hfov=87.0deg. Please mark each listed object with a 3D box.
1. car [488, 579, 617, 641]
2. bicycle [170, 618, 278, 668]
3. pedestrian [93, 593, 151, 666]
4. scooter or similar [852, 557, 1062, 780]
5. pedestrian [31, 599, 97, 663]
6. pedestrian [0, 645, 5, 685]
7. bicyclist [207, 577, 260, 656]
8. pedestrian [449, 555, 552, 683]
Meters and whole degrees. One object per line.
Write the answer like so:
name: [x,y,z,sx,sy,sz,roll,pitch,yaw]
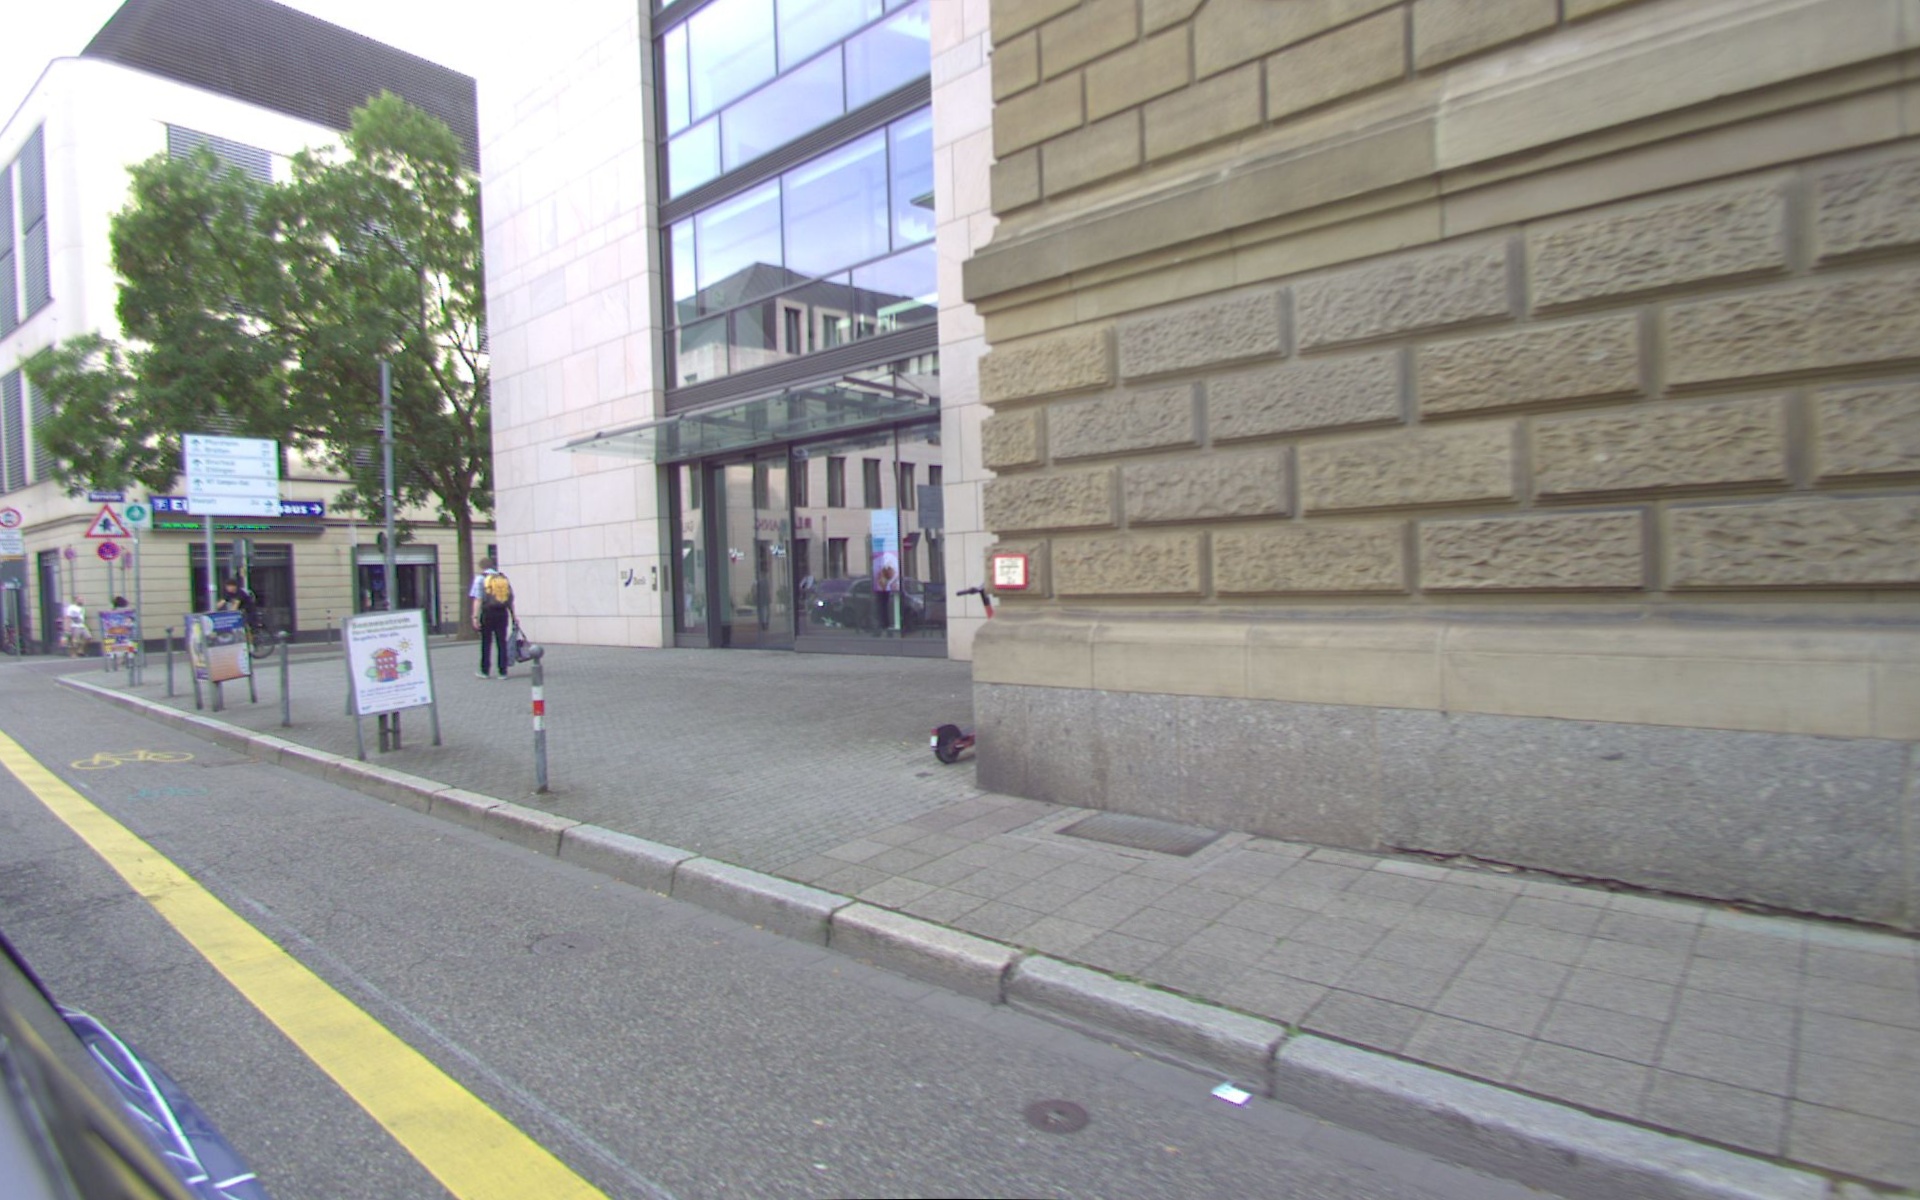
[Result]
car: [-12.459,0.318,30.900,3.957,1.706,1.876,-2,0,38]
bicycle: [-15.599,0.901,21.492,0.600,0.840,1.705,-4,2,35]
pedestrian: [-21.183,0.724,25.583,0.910,1.721,0.868,0,5,41]
scooter or similar: [0.018,0.415,7.056,0.587,1.320,1.432,-2,3,40]
pedestrian: [-26.695,0.912,30.171,1.049,1.777,0.890,-3,4,11]
pedestrian: [-17.899,0.669,18.181,0.753,1.827,0.738,-1,4,30]
bicyclist: [-15.509,0.345,21.614,0.621,1.631,0.636,-2,3,34]
pedestrian: [-6.614,0.252,14.584,0.818,1.732,1.015,0,3,41]
